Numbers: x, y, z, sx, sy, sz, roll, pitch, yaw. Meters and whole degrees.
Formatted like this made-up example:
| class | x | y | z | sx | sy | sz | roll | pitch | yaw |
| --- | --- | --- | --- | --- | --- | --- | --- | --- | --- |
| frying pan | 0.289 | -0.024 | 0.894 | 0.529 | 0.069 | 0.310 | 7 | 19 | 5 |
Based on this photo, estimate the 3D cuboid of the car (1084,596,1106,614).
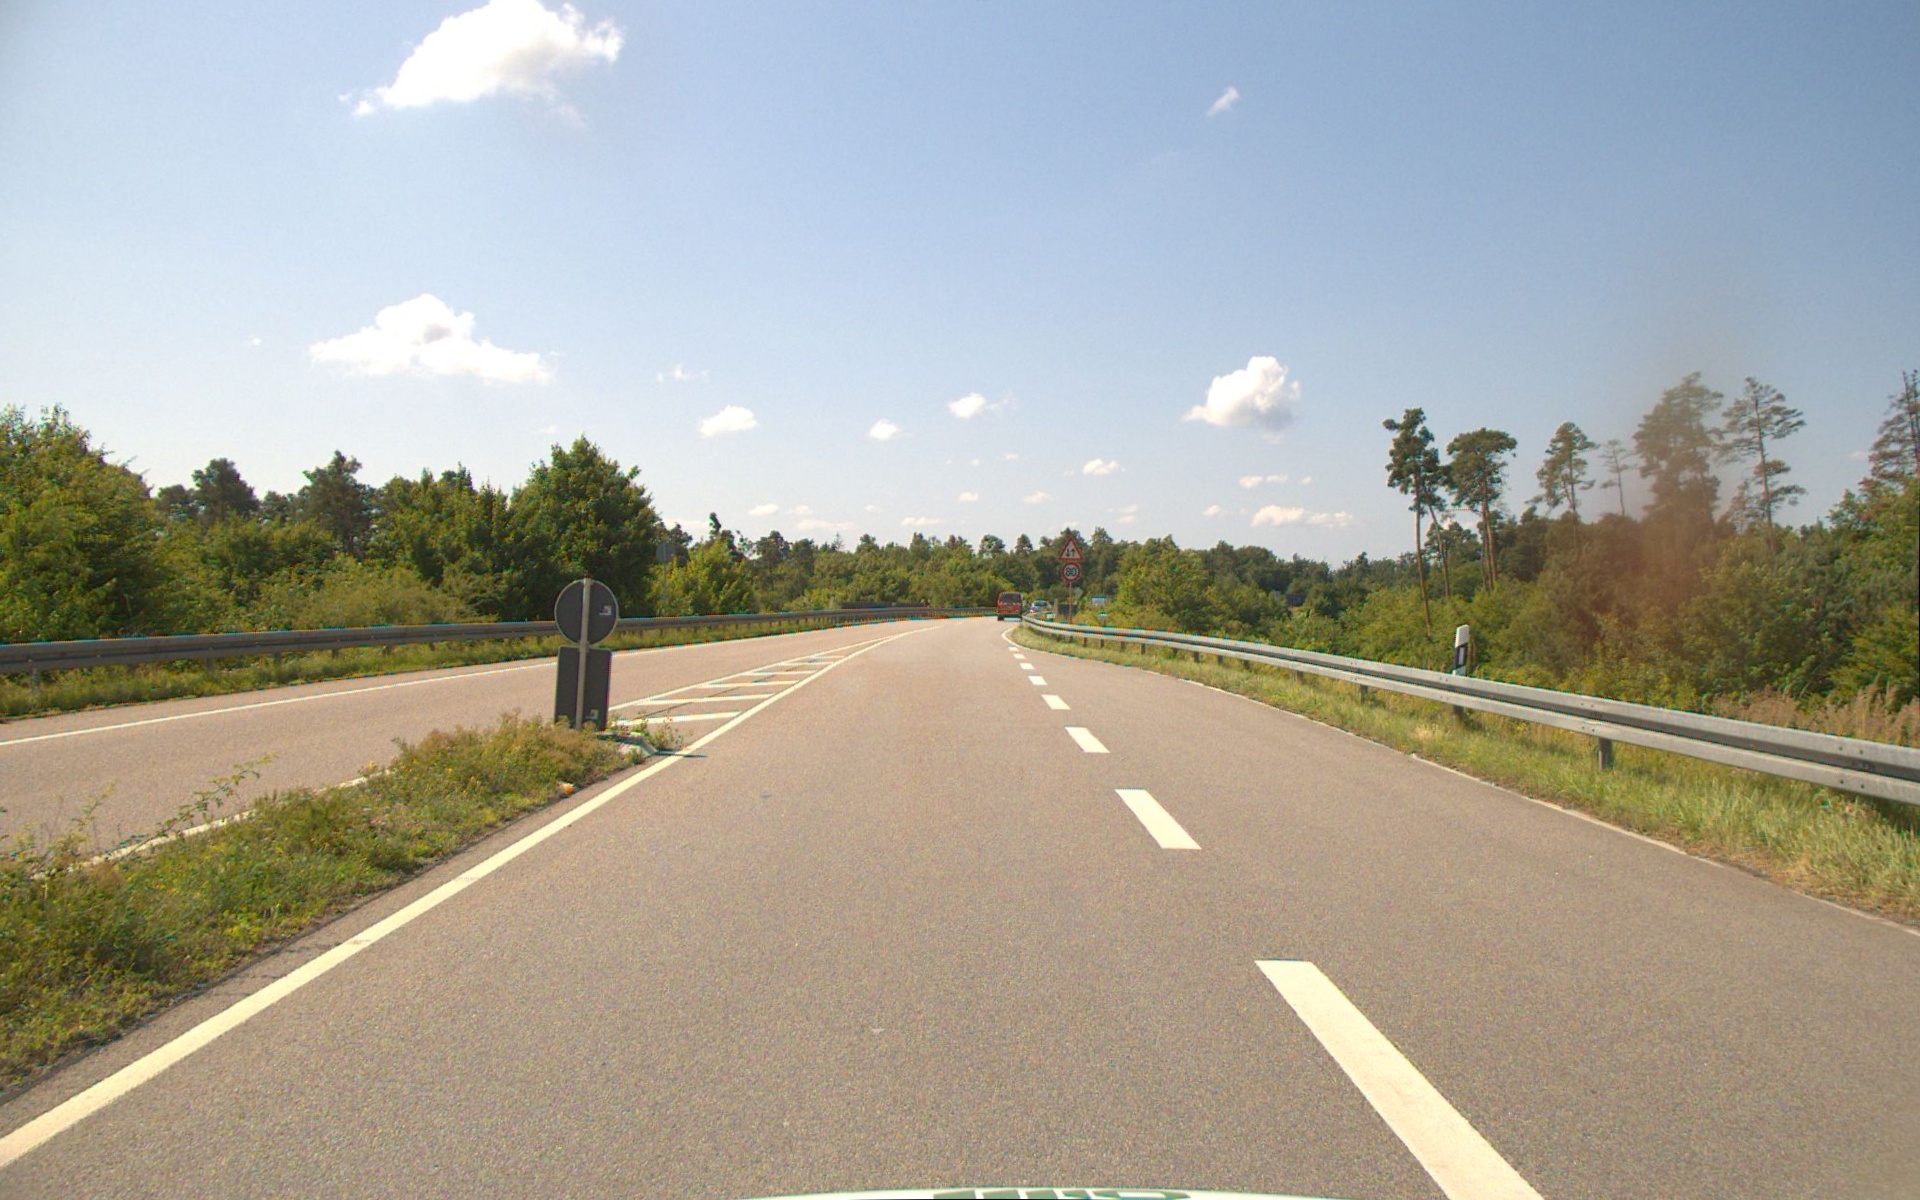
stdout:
| class | x | y | z | sx | sy | sz | roll | pitch | yaw |
| --- | --- | --- | --- | --- | --- | --- | --- | --- | --- |
| car | 15.832 | 0.537 | 194.350 | 2.138 | 1.989 | 5.808 | 2 | 0 | 8 |

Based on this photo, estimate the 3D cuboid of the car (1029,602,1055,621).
| class | x | y | z | sx | sy | sz | roll | pitch | yaw |
| --- | --- | --- | --- | --- | --- | --- | --- | --- | --- |
| car | 6.842 | 0.976 | 137.750 | 1.965 | 1.520 | 4.241 | 1 | -1 | 6 |

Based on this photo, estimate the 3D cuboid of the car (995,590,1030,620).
| class | x | y | z | sx | sy | sz | roll | pitch | yaw |
| --- | --- | --- | --- | --- | --- | --- | --- | --- | --- |
| car | 3.734 | 0.382 | 115.985 | 2.033 | 2.028 | 5.115 | 1 | -1 | 6 |
